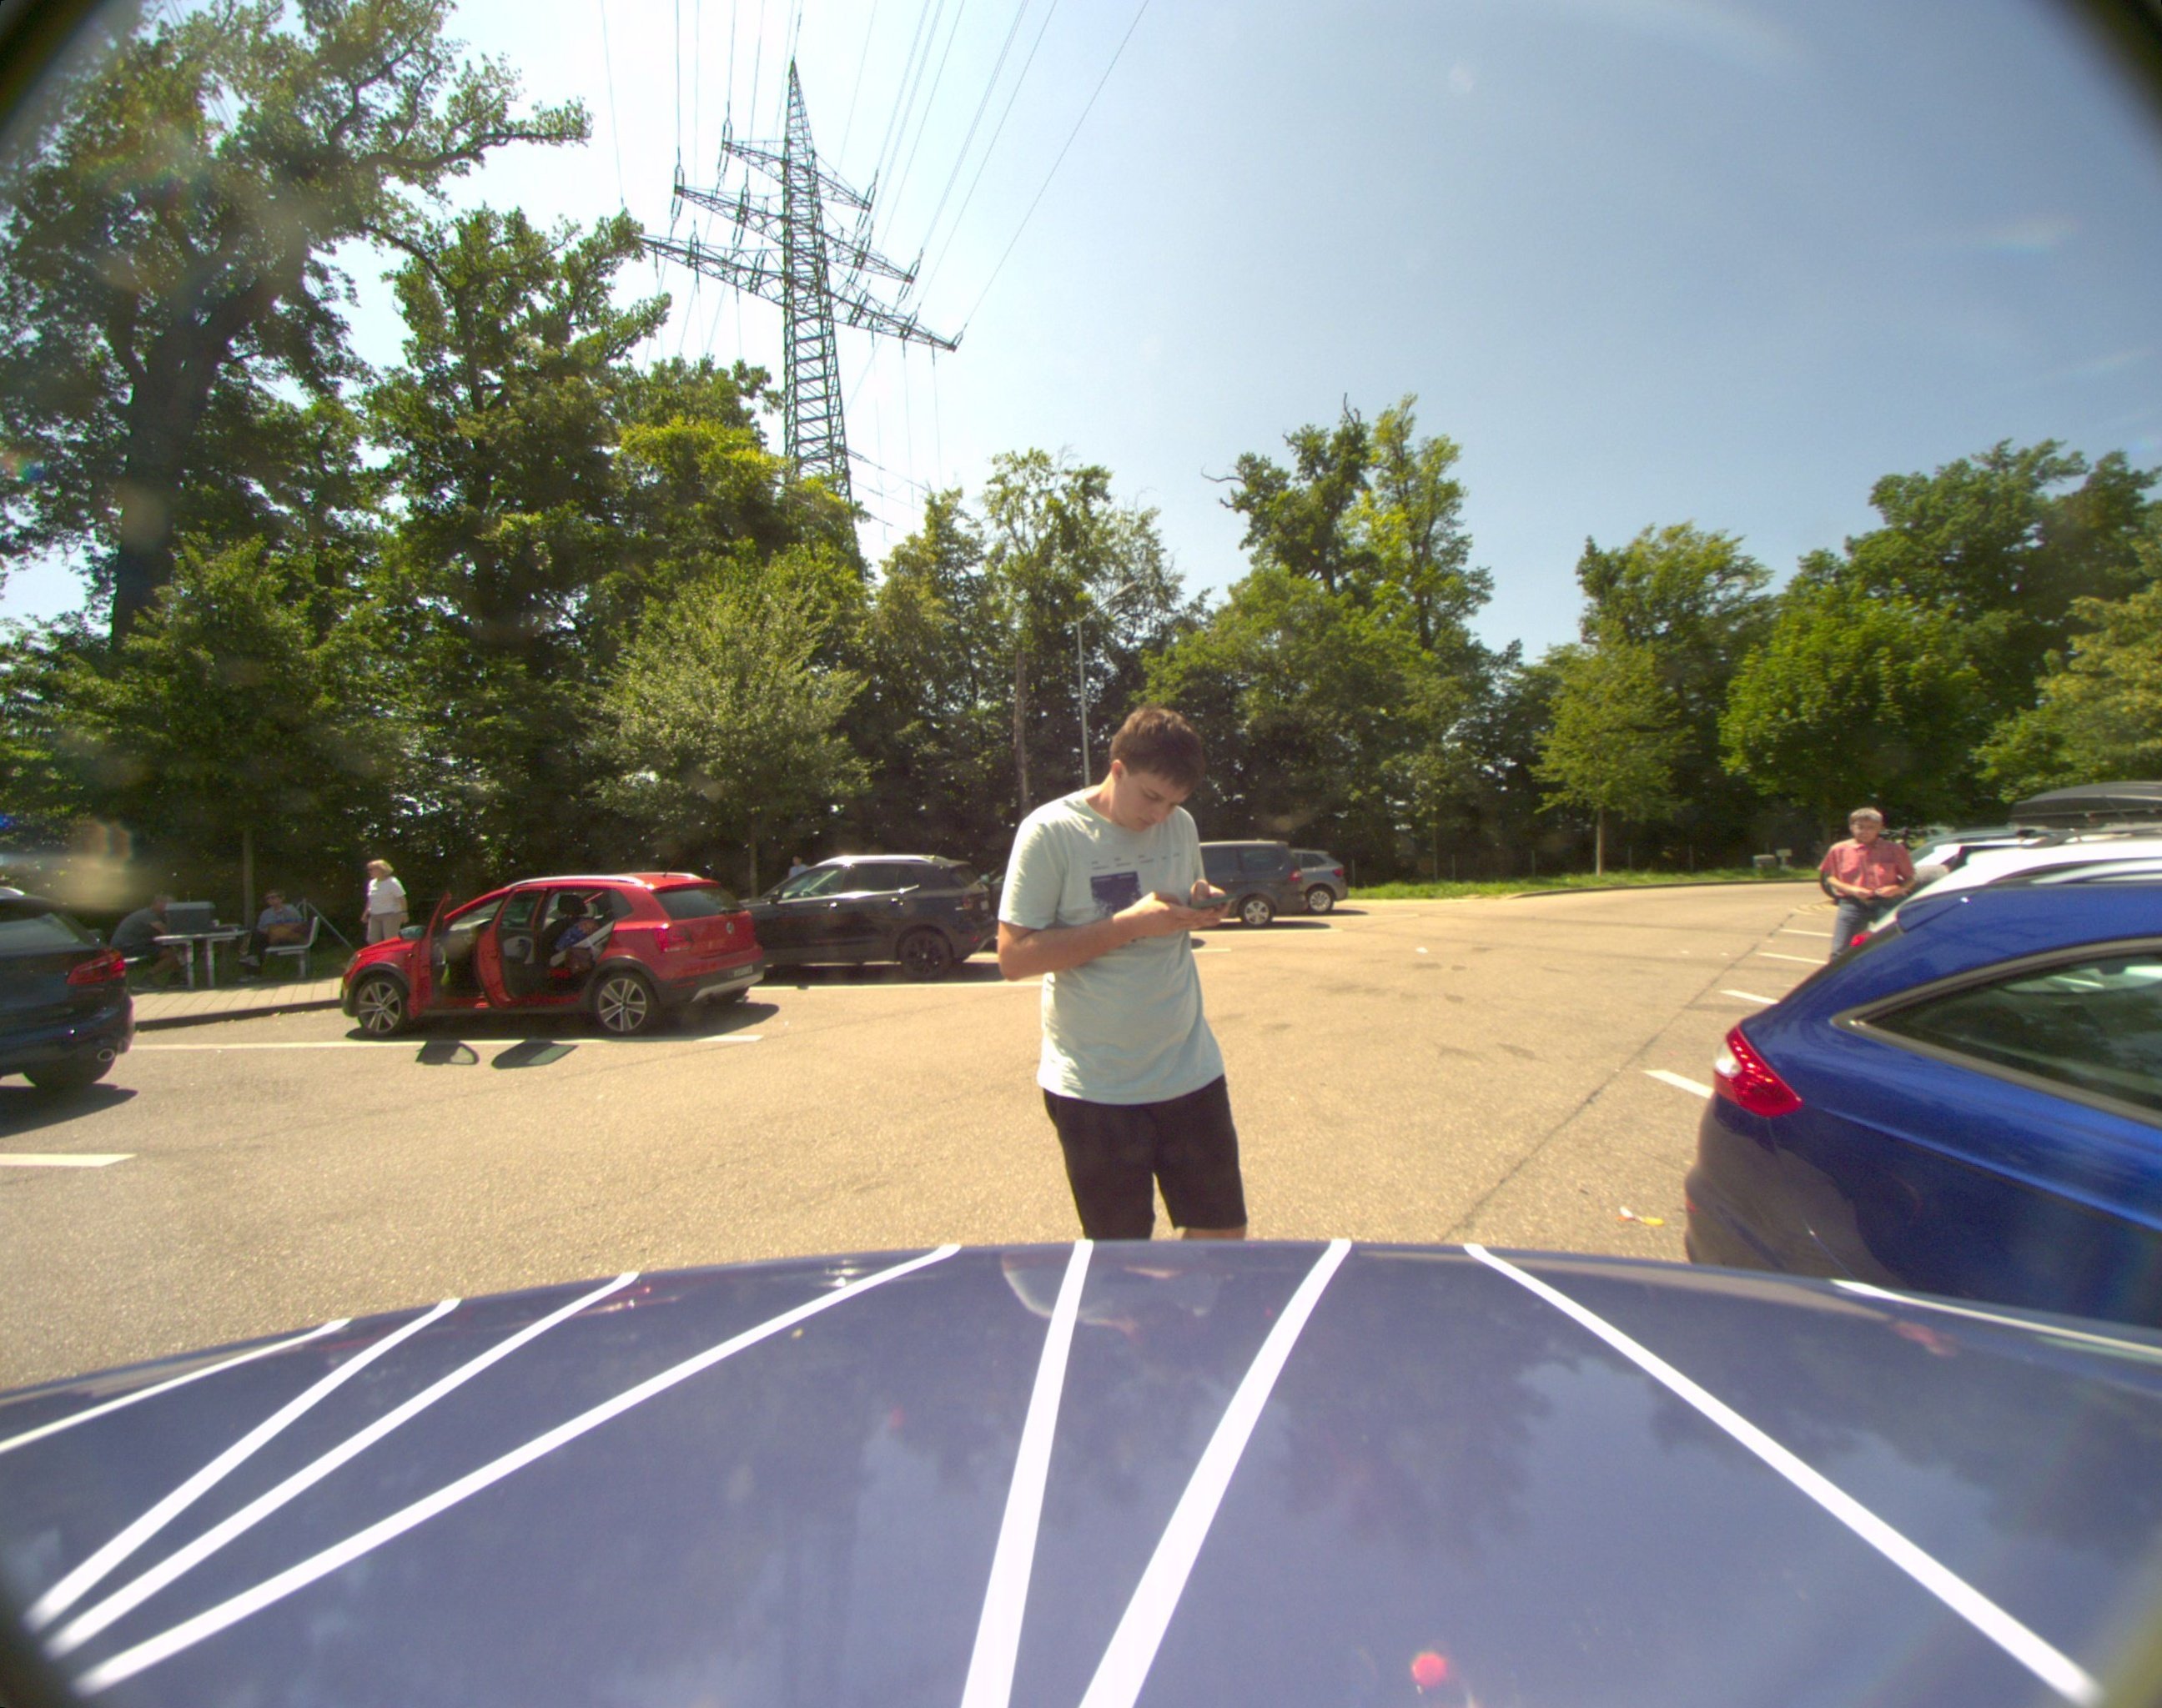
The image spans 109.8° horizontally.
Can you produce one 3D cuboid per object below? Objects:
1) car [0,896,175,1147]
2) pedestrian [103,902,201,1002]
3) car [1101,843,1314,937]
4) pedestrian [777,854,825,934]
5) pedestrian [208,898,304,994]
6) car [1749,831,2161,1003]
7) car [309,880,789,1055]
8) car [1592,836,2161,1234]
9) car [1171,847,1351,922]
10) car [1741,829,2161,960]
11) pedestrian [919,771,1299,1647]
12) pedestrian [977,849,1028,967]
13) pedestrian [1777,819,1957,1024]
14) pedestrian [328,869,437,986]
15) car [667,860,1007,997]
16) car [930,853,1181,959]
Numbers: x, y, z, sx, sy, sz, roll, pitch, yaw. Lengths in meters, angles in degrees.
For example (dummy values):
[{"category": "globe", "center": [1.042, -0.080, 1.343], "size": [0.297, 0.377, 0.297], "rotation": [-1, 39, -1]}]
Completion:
[{"category": "car", "center": [-8.922, 1.163, 4.995], "size": [4.011, 1.558, 1.846], "rotation": [-2, 0, 6]}, {"category": "pedestrian", "center": [-12.669, 1.312, 10.375], "size": [0.652, 1.262, 0.672], "rotation": [-2, 0, 24]}, {"category": "car", "center": [2.504, 0.700, 15.443], "size": [3.964, 1.678, 1.781], "rotation": [-2, 0, 7]}, {"category": "pedestrian", "center": [-5.732, 0.802, 15.593], "size": [0.715, 1.584, 0.809], "rotation": [-2, 0, -7]}, {"category": "pedestrian", "center": [-11.896, 1.302, 10.965], "size": [0.828, 1.287, 0.672], "rotation": [-2, 0, 24]}, {"category": "car", "center": [10.059, 0.534, 8.151], "size": [1.779, 1.456, 4.470], "rotation": [-2, -1, 0]}, {"category": "car", "center": [-5.197, 1.078, 7.713], "size": [3.704, 1.448, 1.781], "rotation": [-2, 0, 7]}, {"category": "car", "center": [4.870, 0.660, 3.627], "size": [1.779, 1.456, 4.470], "rotation": [-2, -1, 0]}, {"category": "car", "center": [4.173, 0.716, 18.196], "size": [3.964, 1.577, 1.781], "rotation": [-2, 0, 7]}, {"category": "car", "center": [12.361, 0.477, 10.936], "size": [1.779, 1.456, 4.470], "rotation": [-2, -1, 0]}, {"category": "pedestrian", "center": [0.057, 0.703, 1.783], "size": [0.687, 1.699, 0.578], "rotation": [-2, 0, 1]}, {"category": "pedestrian", "center": [-1.198, 0.812, 11.692], "size": [0.660, 1.745, 0.636], "rotation": [-2, 0, 1]}, {"category": "pedestrian", "center": [6.560, 0.538, 6.382], "size": [0.672, 1.592, 0.759], "rotation": [-2, 0, 1]}, {"category": "pedestrian", "center": [-10.068, 1.031, 10.981], "size": [0.775, 1.584, 0.809], "rotation": [-2, 0, -2]}, {"category": "car", "center": [-3.150, 0.943, 10.373], "size": [3.966, 1.582, 1.841], "rotation": [-2, 0, 3]}, {"category": "car", "center": [-0.331, 0.844, 12.951], "size": [3.964, 1.582, 1.781], "rotation": [-2, 0, 8]}]
